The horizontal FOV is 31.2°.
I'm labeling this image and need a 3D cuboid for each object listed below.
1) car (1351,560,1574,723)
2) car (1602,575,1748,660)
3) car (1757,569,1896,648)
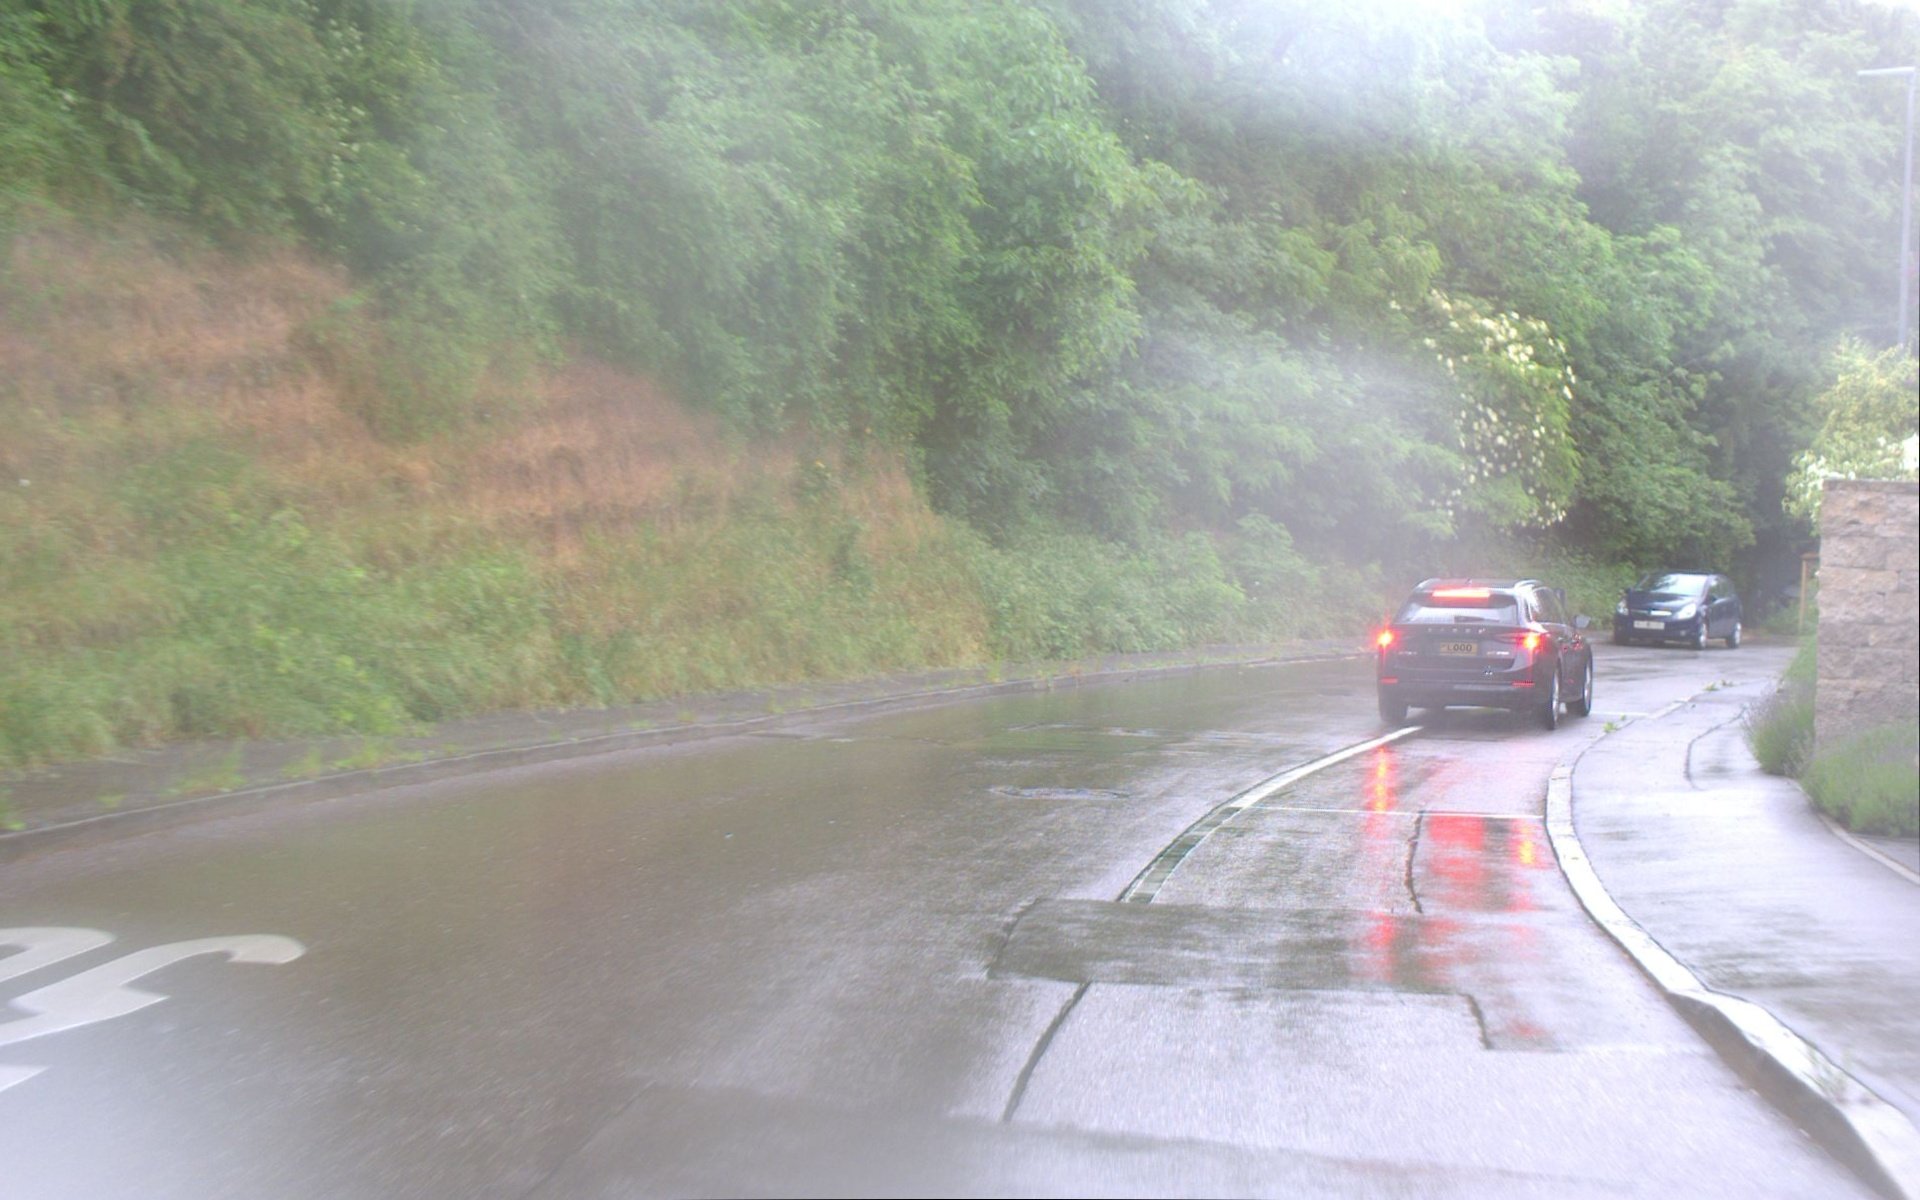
[{"bbox_3d":[5.202,0.379,35.203,1.869,1.507,4.090,2,1,13],"label":"car"},{"bbox_3d":[13.707,0.307,65.753,1.702,1.466,3.994,4,2,26],"label":"car"},{"bbox_3d":[19.878,0.209,78.809,1.997,1.635,3.993,4,2,30],"label":"car"}]
